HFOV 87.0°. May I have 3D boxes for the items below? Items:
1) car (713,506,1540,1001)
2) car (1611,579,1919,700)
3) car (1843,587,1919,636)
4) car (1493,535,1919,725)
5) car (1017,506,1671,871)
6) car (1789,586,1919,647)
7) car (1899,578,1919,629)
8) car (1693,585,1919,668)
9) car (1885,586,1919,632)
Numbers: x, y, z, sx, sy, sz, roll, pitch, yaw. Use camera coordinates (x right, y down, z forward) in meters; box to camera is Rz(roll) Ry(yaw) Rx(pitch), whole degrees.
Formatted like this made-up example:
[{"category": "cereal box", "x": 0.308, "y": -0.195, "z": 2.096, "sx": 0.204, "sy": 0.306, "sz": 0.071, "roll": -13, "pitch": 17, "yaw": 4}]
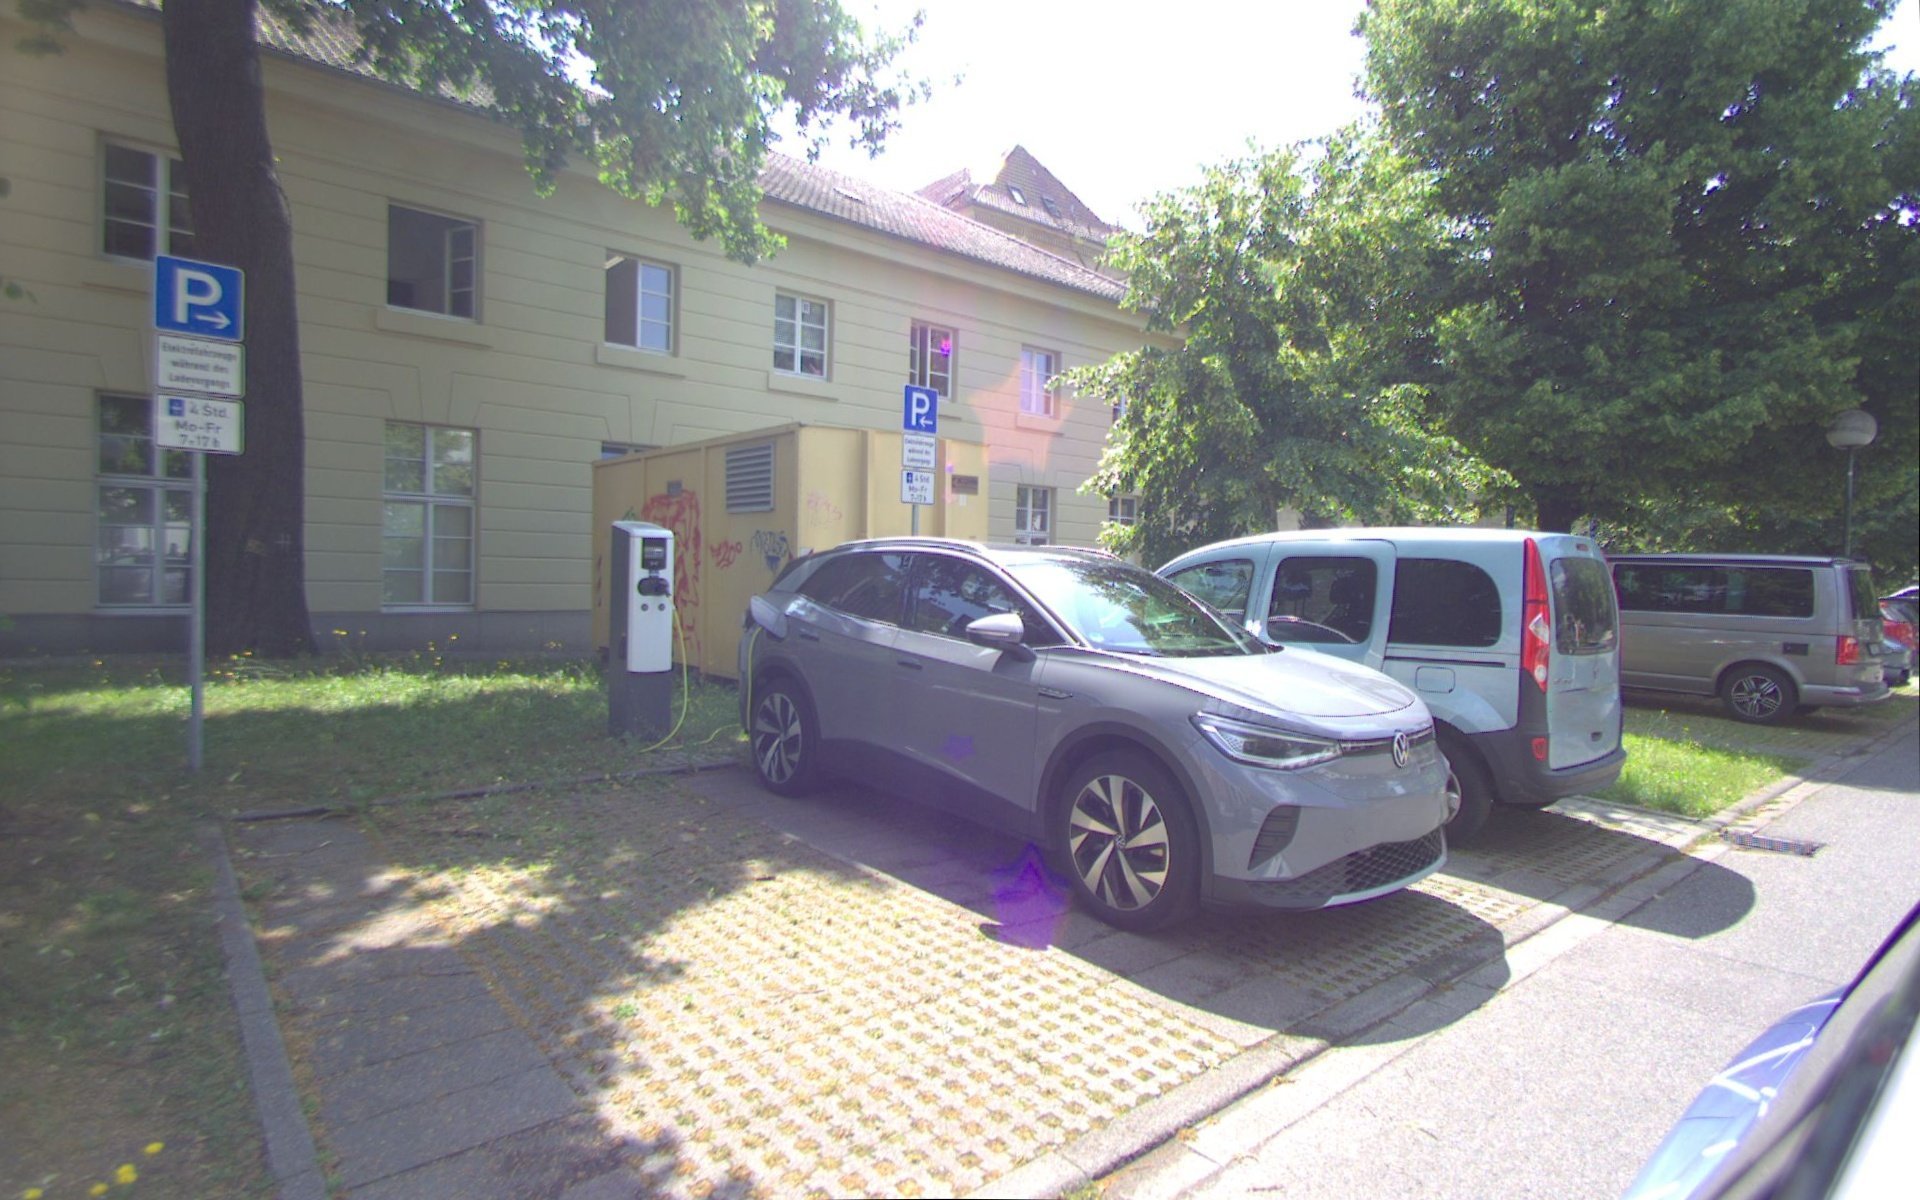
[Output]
[{"category": "car", "x": 0.504, "y": 0.406, "z": 5.670, "sx": 1.862, "sy": 1.672, "sz": 4.357, "roll": 0, "pitch": 3, "yaw": -41}, {"category": "car", "x": 12.934, "y": 0.517, "z": 16.211, "sx": 1.754, "sy": 1.614, "sz": 3.853, "roll": 0, "pitch": 2, "yaw": -39}, {"category": "car", "x": 32.134, "y": 0.398, "z": 33.700, "sx": 1.692, "sy": 1.540, "sz": 3.853, "roll": 0, "pitch": 2, "yaw": -39}, {"category": "car", "x": 9.402, "y": 0.240, "z": 13.010, "sx": 1.964, "sy": 2.038, "sz": 4.049, "roll": 0, "pitch": 2, "yaw": -39}, {"category": "car", "x": 2.449, "y": 0.371, "z": 7.250, "sx": 1.792, "sy": 1.860, "sz": 3.995, "roll": 0, "pitch": 2, "yaw": -41}, {"category": "car", "x": 25.343, "y": 0.434, "z": 27.663, "sx": 1.692, "sy": 1.506, "sz": 3.853, "roll": 0, "pitch": 2, "yaw": -39}, {"category": "car", "x": 37.665, "y": 0.180, "z": 37.582, "sx": 1.749, "sy": 1.903, "sz": 3.853, "roll": 0, "pitch": 2, "yaw": -39}, {"category": "car", "x": 18.767, "y": 0.509, "z": 22.332, "sx": 1.754, "sy": 1.552, "sz": 3.853, "roll": 0, "pitch": 2, "yaw": -39}, {"category": "car", "x": 35.546, "y": 0.373, "z": 35.878, "sx": 1.671, "sy": 1.595, "sz": 3.853, "roll": 0, "pitch": 2, "yaw": -39}]
